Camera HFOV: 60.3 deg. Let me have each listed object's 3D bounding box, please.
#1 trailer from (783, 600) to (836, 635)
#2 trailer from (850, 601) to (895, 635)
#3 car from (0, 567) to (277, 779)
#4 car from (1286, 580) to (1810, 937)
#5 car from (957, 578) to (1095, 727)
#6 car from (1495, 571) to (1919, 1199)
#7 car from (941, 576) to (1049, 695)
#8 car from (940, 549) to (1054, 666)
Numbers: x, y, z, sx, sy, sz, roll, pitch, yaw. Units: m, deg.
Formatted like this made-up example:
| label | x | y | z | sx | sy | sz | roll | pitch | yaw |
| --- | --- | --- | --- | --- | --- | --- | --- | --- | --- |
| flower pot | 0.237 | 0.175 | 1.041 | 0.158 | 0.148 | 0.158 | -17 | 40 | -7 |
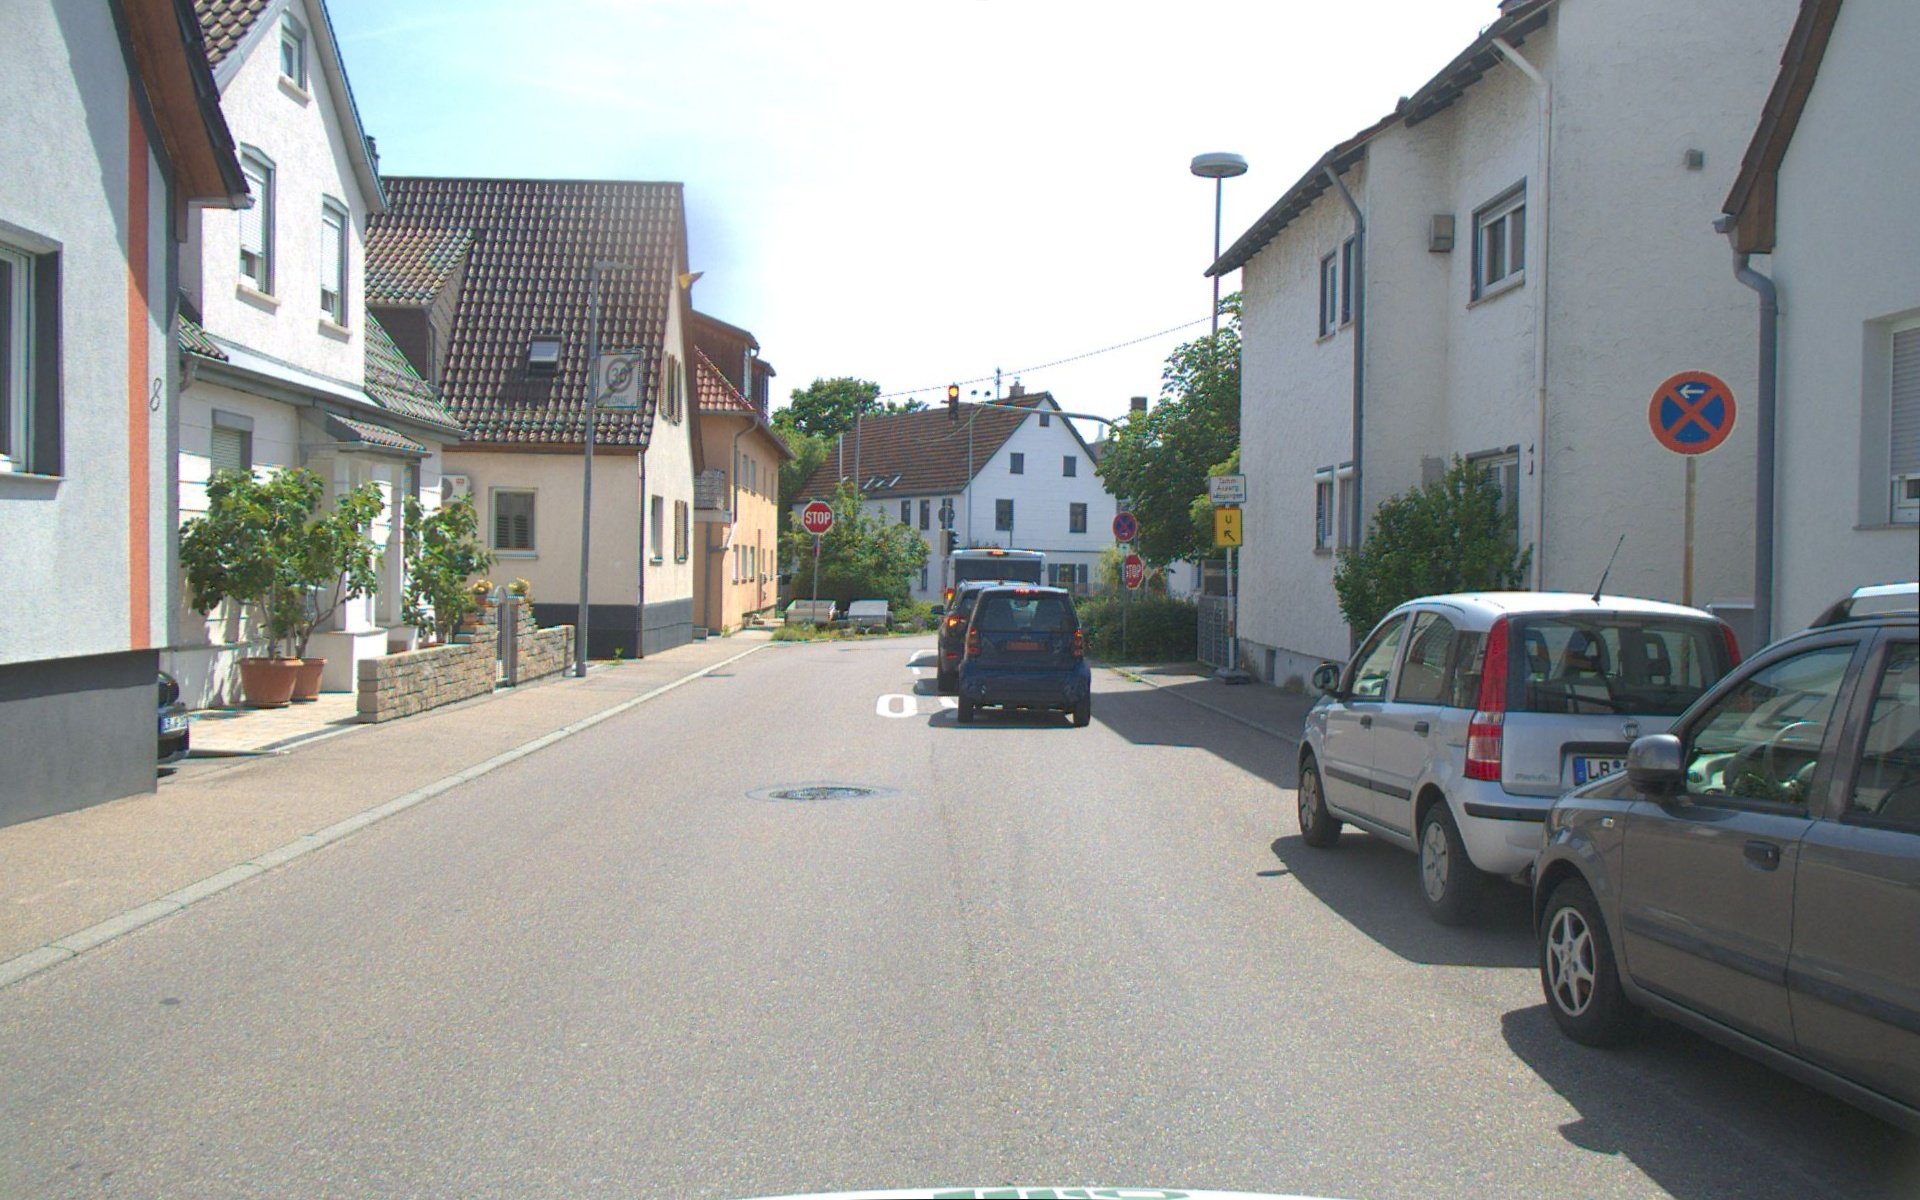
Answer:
| label | x | y | z | sx | sy | sz | roll | pitch | yaw |
| --- | --- | --- | --- | --- | --- | --- | --- | --- | --- |
| trailer | -4.487 | 0.507 | 49.394 | 1.471 | 0.943 | 1.012 | 3 | 0 | -1 |
| trailer | -2.610 | 0.522 | 49.512 | 1.284 | 0.987 | 0.933 | 1 | 0 | -1 |
| car | -7.487 | 0.503 | 12.696 | 3.758 | 1.507 | 1.702 | 1 | 0 | 1 |
| car | 2.918 | 0.689 | 8.936 | 1.468 | 1.539 | 3.360 | 1 | 0 | -3 |
| car | 0.768 | 0.569 | 19.935 | 1.484 | 1.594 | 3.185 | 2 | 0 | 1 |
| car | 2.974 | 0.729 | 4.726 | 1.536 | 1.572 | 3.446 | 1 | 0 | -4 |
| car | 0.527 | 0.484 | 24.672 | 1.484 | 1.653 | 3.185 | 1 | 0 | 1 |
| car | 0.842 | 0.124 | 33.766 | 2.084 | 2.196 | 4.739 | 1 | 0 | 4 |
